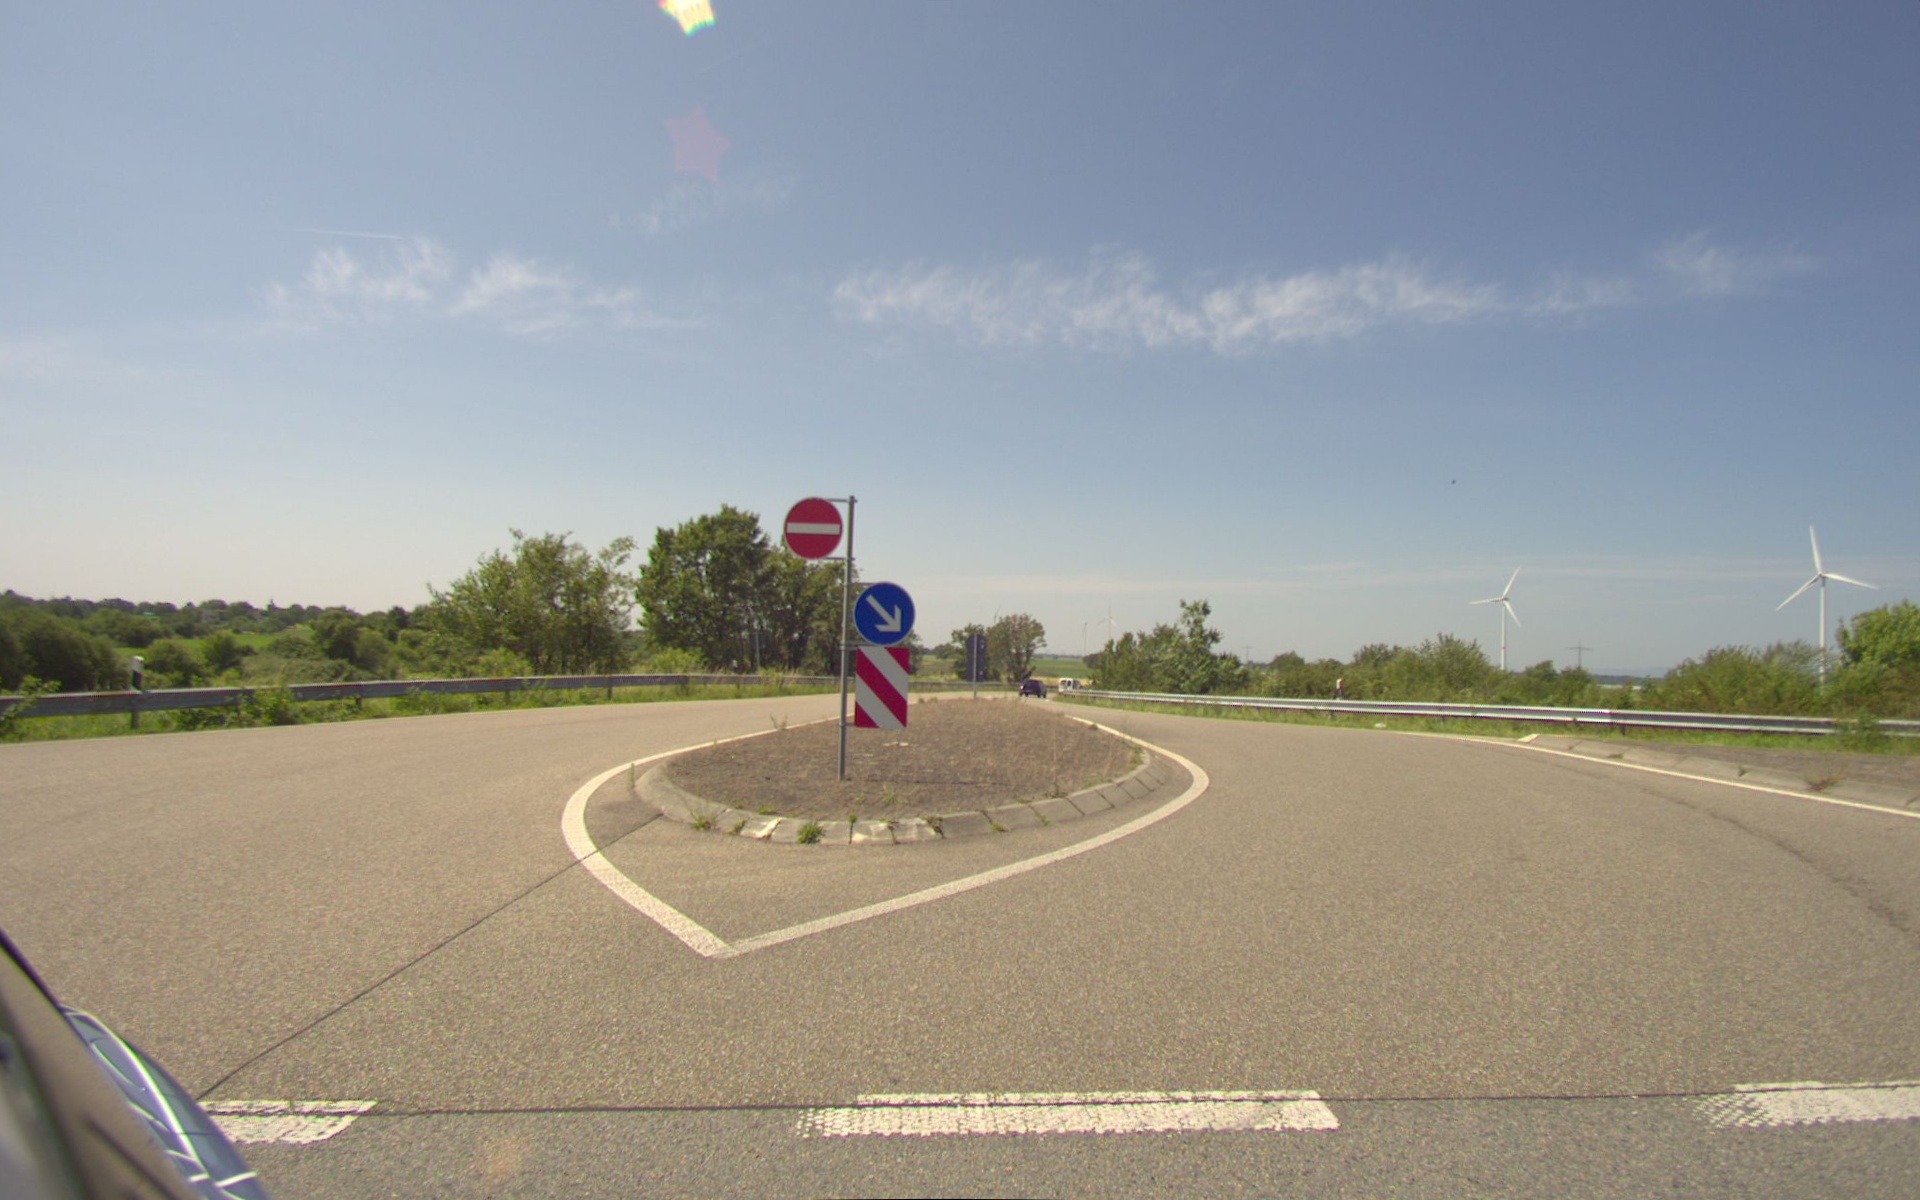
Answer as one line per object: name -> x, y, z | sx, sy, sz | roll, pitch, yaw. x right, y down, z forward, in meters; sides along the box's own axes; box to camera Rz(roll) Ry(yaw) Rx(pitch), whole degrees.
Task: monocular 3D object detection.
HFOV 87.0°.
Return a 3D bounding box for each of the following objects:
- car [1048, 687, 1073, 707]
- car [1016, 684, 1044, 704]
car -> 9.514, 9.181, 95.718 | 1.726, 1.775, 4.063 | 1, -5, 15
car -> 5.670, 7.619, 81.879 | 1.697, 1.406, 3.871 | 2, -6, 13
